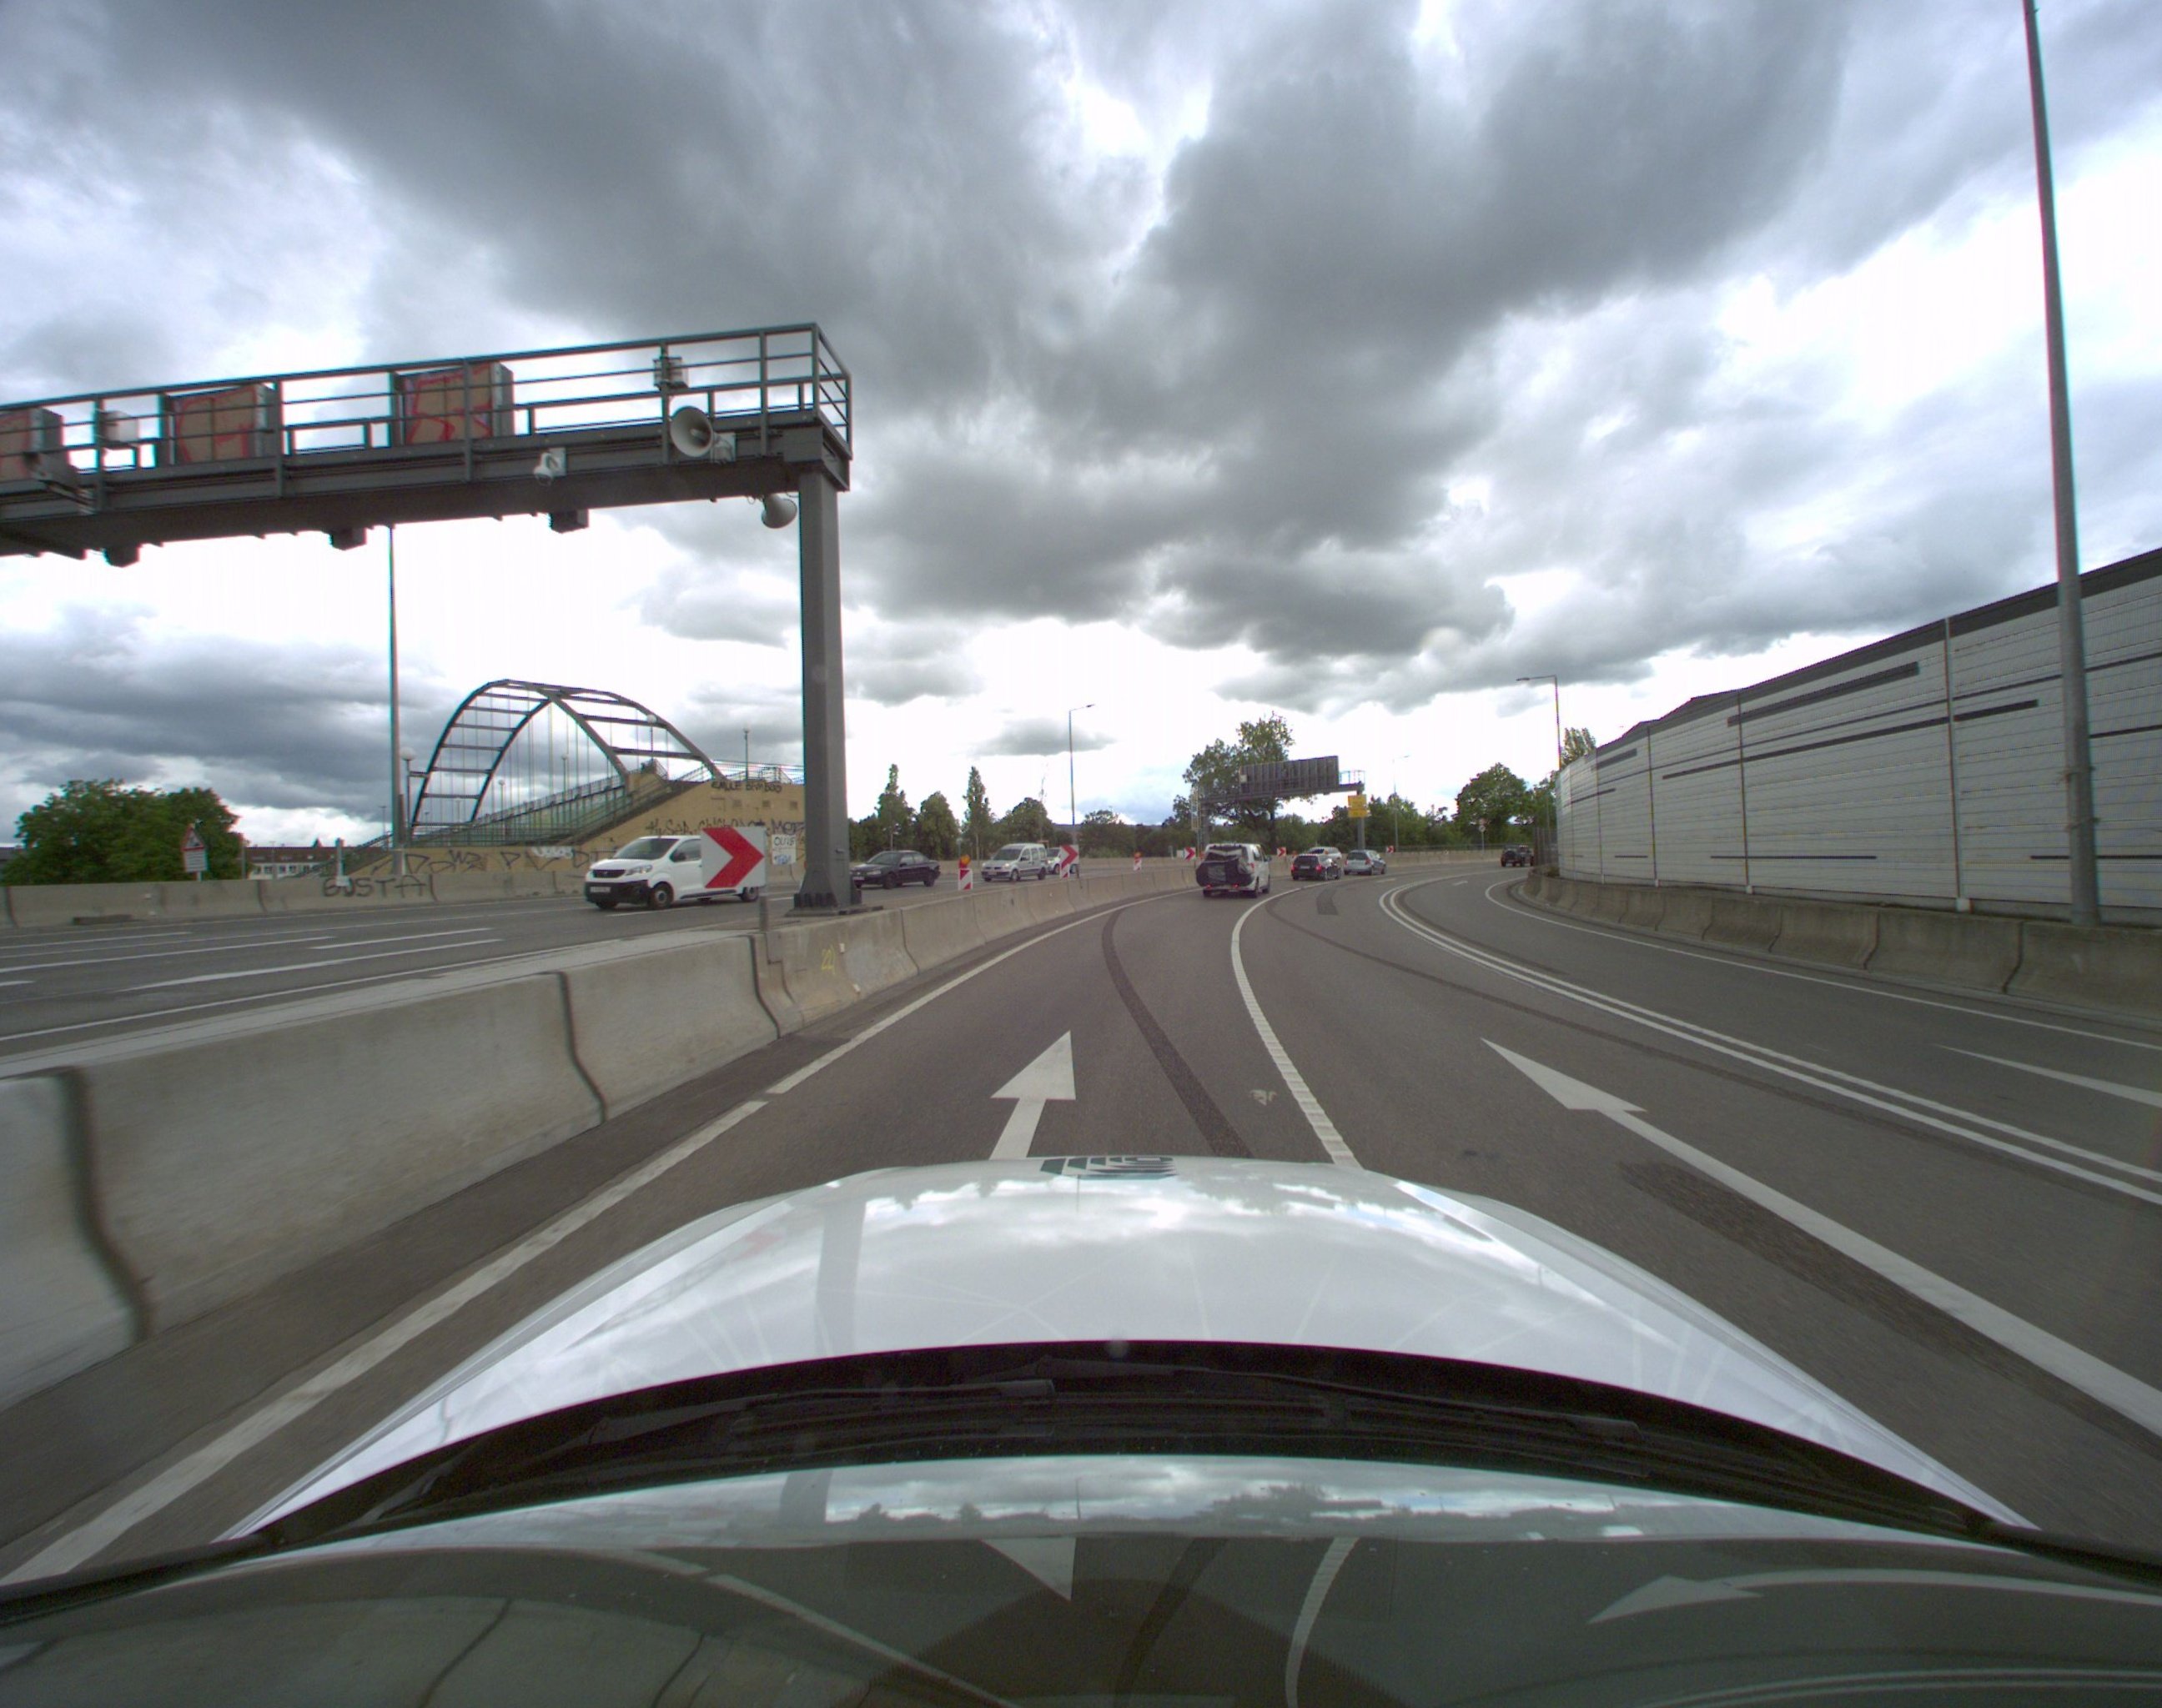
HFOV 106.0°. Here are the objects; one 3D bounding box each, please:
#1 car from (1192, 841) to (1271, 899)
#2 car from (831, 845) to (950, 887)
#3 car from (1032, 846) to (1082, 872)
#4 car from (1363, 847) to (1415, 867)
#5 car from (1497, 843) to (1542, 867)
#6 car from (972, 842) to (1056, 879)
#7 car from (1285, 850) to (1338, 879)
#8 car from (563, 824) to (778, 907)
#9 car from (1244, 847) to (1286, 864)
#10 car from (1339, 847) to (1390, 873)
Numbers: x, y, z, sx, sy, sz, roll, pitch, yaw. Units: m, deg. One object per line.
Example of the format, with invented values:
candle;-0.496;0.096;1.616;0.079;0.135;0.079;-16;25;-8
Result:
car;5.498;0.475;29.040;1.977;1.859;5.668;1;1;18
car;-7.252;0.436;31.511;1.975;1.488;4.615;-1;0;26
car;-1.430;0.296;48.906;1.609;1.475;2.959;-1;0;33
car;24.840;0.190;65.646;2.078;1.552;5.173;0;1;44
car;35.125;0.074;65.248;4.023;1.860;1.975;0;-1;-44
car;-3.135;0.290;38.946;1.975;1.686;4.285;-1;0;27
car;12.475;0.548;43.937;1.797;1.434;4.090;-3;-1;28
car;-10.719;0.280;21.827;2.220;1.951;5.126;-1;0;16
car;15.583;0.112;68.955;1.908;1.450;4.025;0;0;39
car;17.946;0.363;51.511;1.902;1.489;4.091;-1;0;36
